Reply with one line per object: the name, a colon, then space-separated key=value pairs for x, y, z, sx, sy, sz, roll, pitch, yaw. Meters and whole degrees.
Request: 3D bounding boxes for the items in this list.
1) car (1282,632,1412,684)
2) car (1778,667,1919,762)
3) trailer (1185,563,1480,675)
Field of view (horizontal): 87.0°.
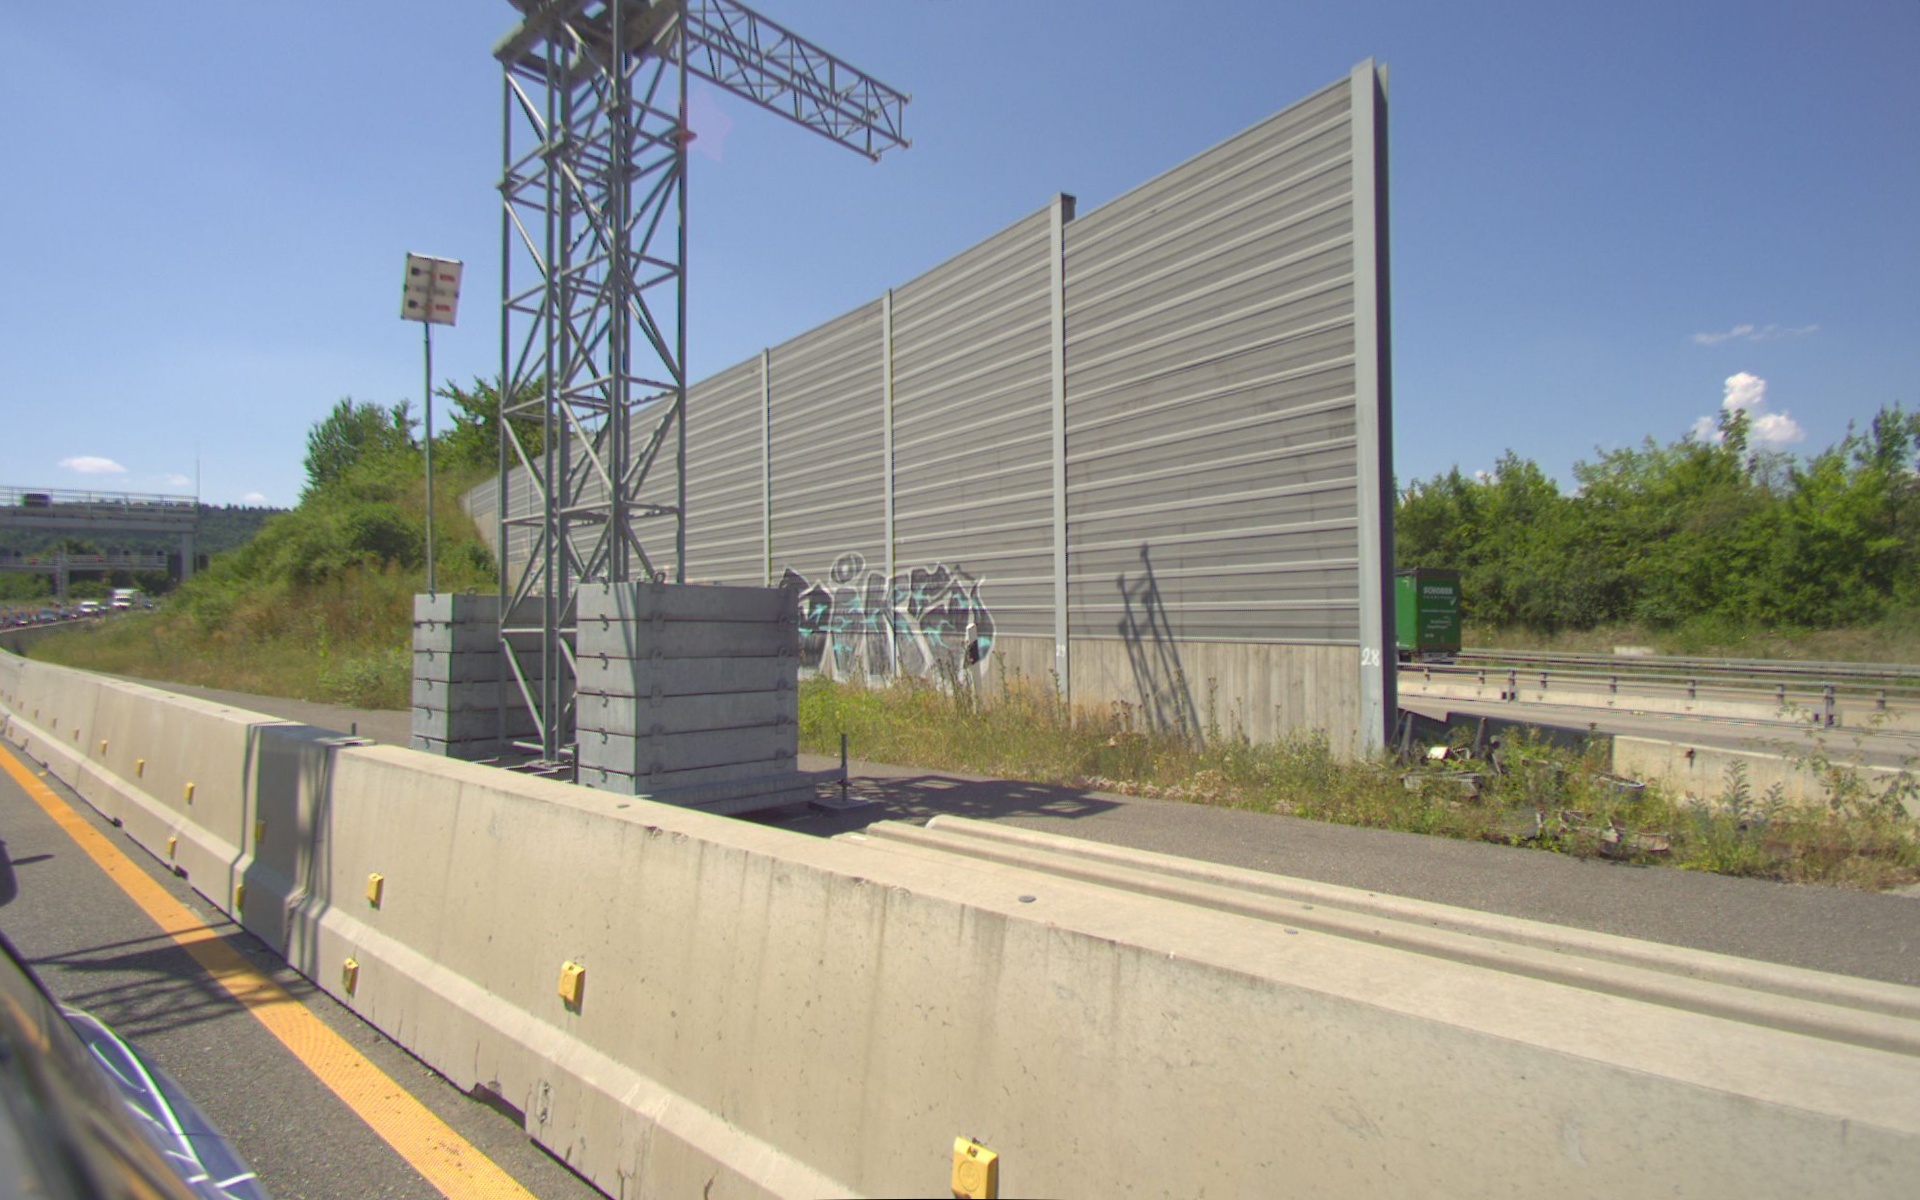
car: x=13.653 y=2.012 z=35.975 sx=1.692 sy=1.636 sz=4.183 roll=0 pitch=-1 yaw=-30
car: x=18.872 y=2.250 z=19.749 sx=1.692 sy=1.636 sz=4.183 roll=0 pitch=-1 yaw=-30
trailer: x=16.115 y=0.762 z=45.935 sx=3.496 sy=4.302 sz=13.954 roll=-1 pitch=0 yaw=-26
